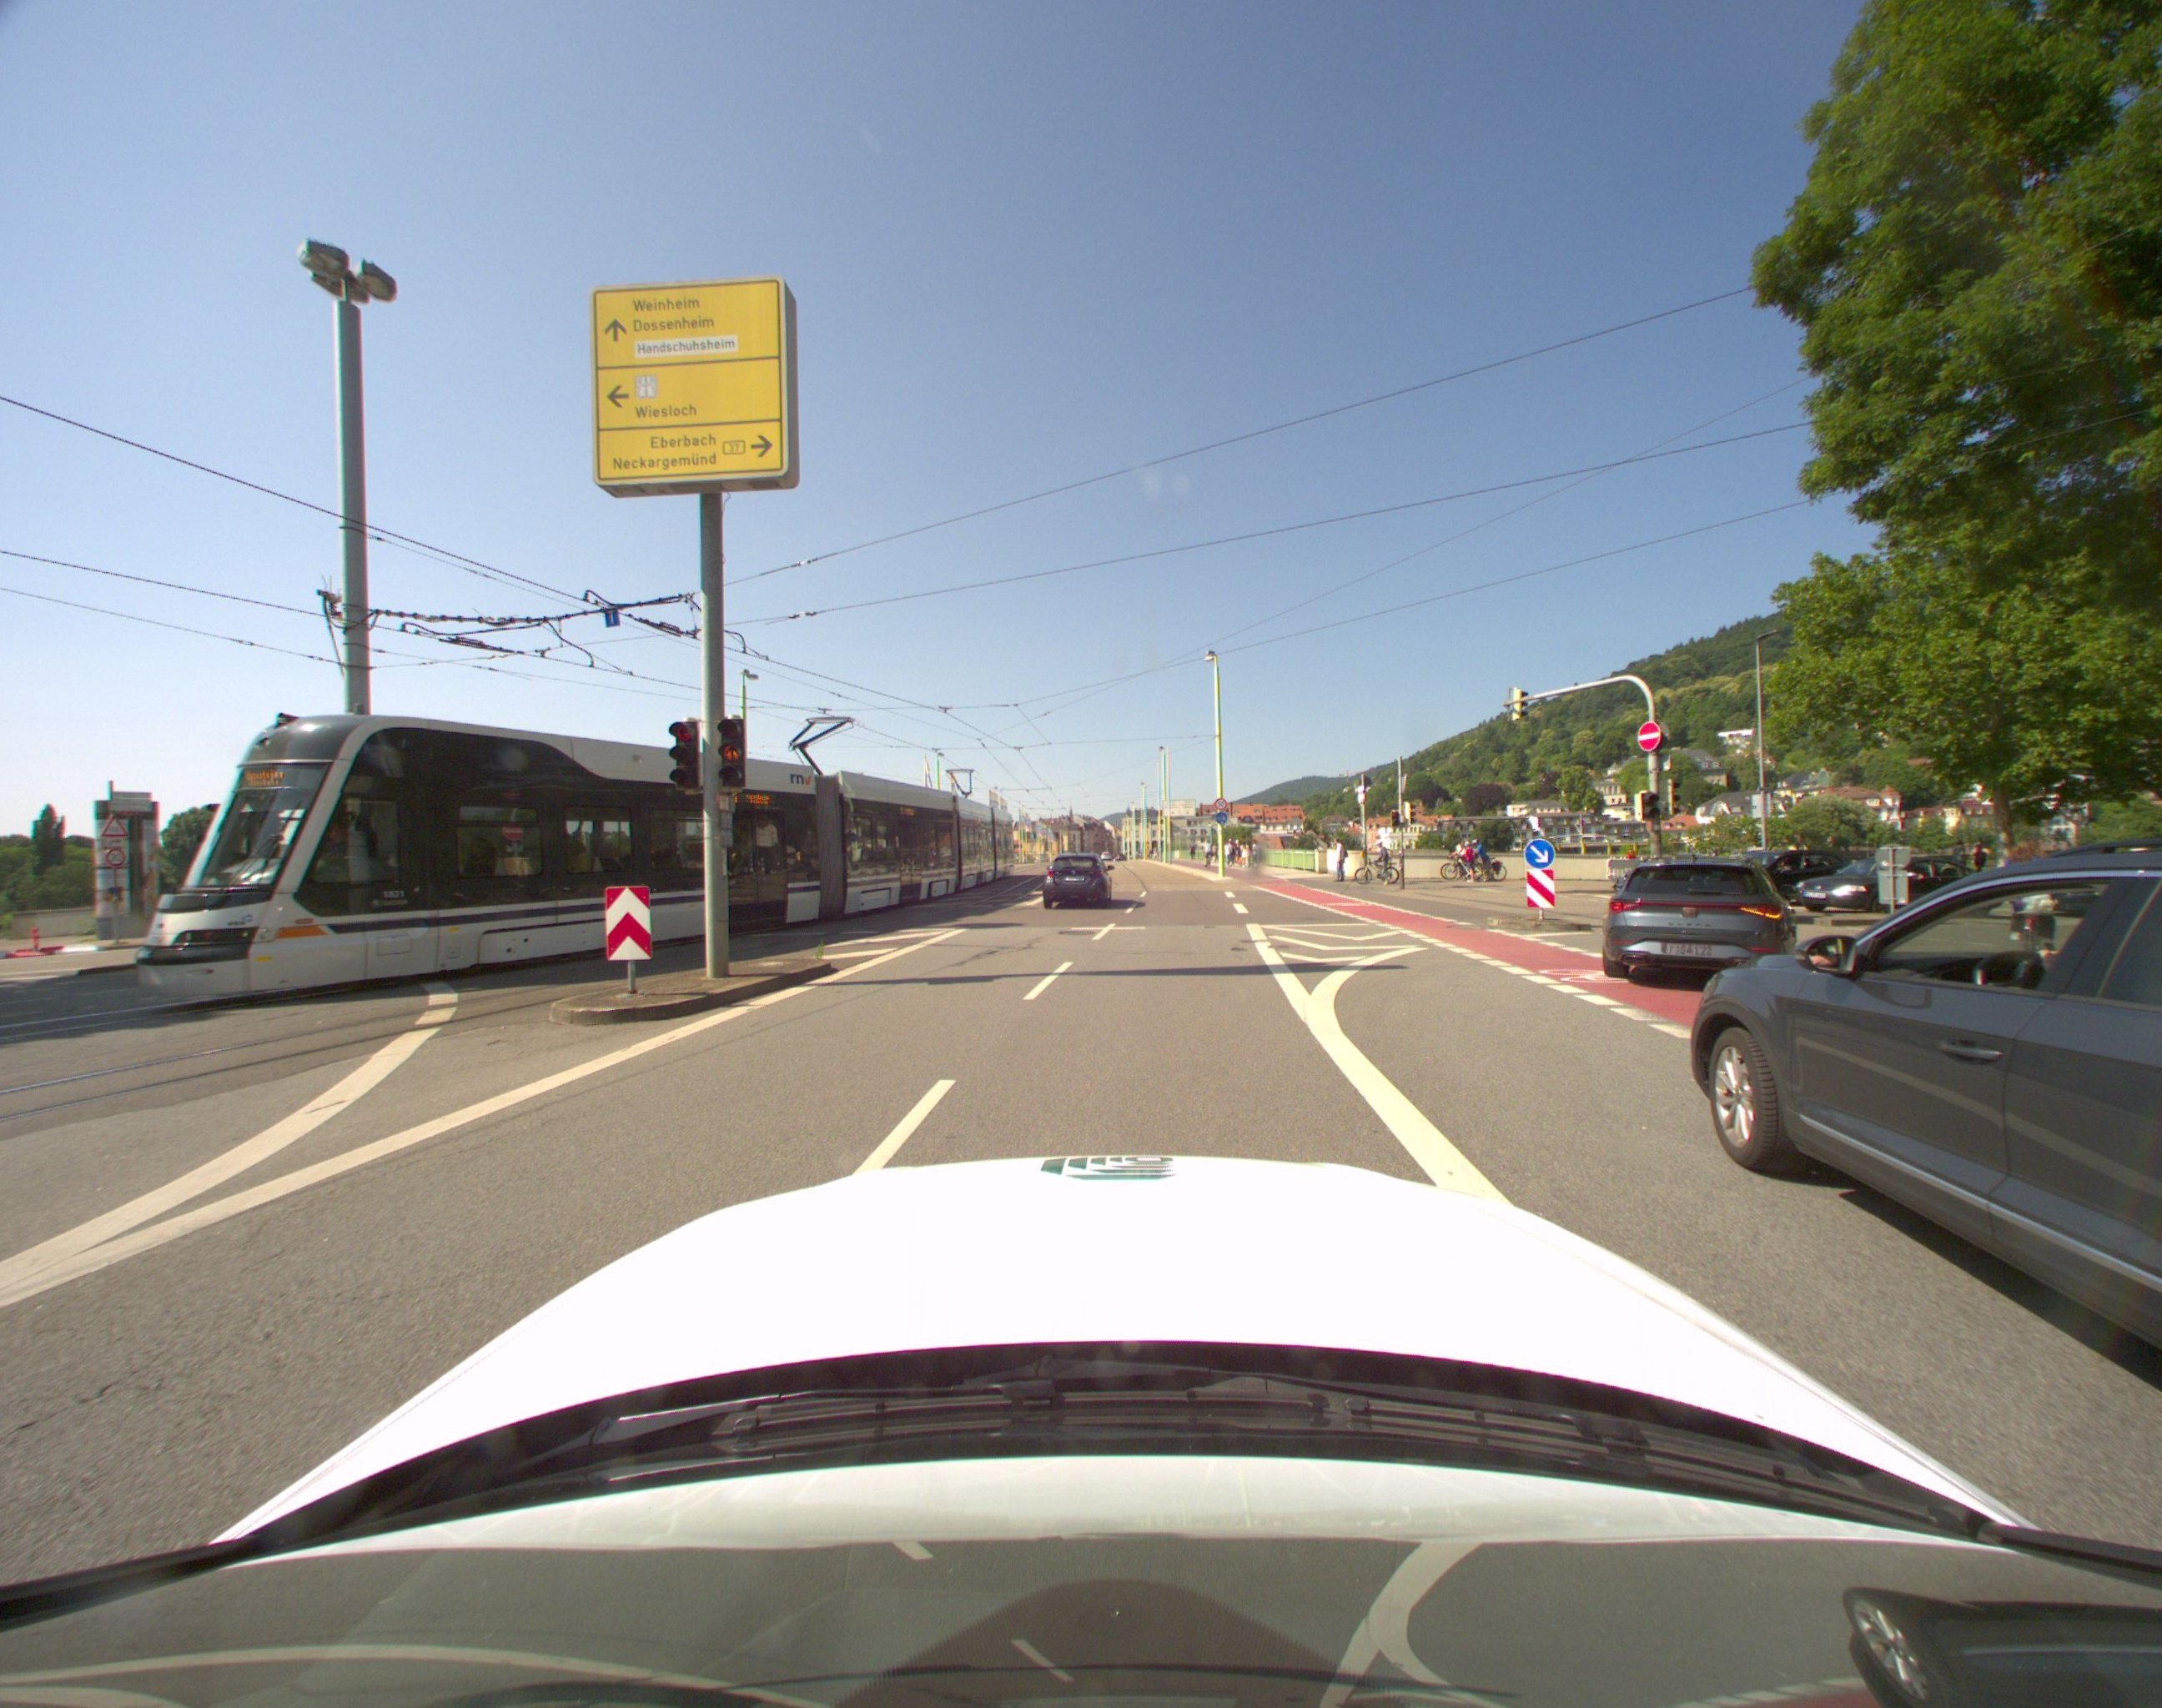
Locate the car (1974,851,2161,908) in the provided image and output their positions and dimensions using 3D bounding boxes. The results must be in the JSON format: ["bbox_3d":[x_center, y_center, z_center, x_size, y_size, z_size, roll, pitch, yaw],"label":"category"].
[{"bbox_3d":[27.021,0.652,21.960,4.471,1.379,1.841,-1,1,-10],"label":"car"}]

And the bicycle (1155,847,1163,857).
[{"bbox_3d":[10.236,-0.255,107.220,0.694,1.193,2.075,-2,-1,-5],"label":"bicycle"}]

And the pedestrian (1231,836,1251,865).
[{"bbox_3d":[9.928,-0.210,50.660,0.983,1.750,0.928,-1,-1,-5],"label":"pedestrian"}]

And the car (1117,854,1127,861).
[{"bbox_3d":[8.281,0.710,165.037,1.796,1.469,4.004,-3,-1,4],"label":"car"}]

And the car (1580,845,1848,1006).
[{"bbox_3d":[7.430,0.659,10.058,1.975,1.490,4.311,0,1,29],"label":"car"}]

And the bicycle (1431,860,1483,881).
[{"bbox_3d":[15.796,0.689,34.218,1.929,0.827,0.566,0,1,5],"label":"bicycle"}]

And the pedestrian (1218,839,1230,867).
[{"bbox_3d":[9.172,-0.079,52.335,0.548,1.799,0.645,-1,-1,-5],"label":"pedestrian"}]

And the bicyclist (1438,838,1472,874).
[{"bbox_3d":[15.702,0.076,34.211,1.074,1.474,0.930,0,1,7],"label":"bicyclist"}]

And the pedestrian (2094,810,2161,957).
[{"bbox_3d":[12.966,0.334,9.681,0.672,1.710,0.892,-2,0,-2],"label":"pedestrian"}]

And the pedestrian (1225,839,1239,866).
[{"bbox_3d":[9.777,-0.094,52.864,0.694,1.716,0.730,-1,-1,-5],"label":"pedestrian"}]

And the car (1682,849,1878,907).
[{"bbox_3d":[19.892,0.628,23.259,4.471,1.506,1.841,-1,1,-10],"label":"car"}]

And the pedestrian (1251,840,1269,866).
[{"bbox_3d":[11.359,-0.056,51.690,0.797,1.635,0.948,-2,0,-5],"label":"pedestrian"}]

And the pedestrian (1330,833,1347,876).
[{"bbox_3d":[10.760,0.015,34.018,0.531,1.760,0.578,-1,0,4],"label":"pedestrian"}]

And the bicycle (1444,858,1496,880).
[{"bbox_3d":[15.786,0.591,33.084,1.921,0.853,0.568,0,1,25],"label":"bicycle"}]

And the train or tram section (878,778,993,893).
[{"bbox_3d":[-5.258,-0.666,31.354,2.395,3.681,9.621,-2,1,1],"label":"train or tram section"}]

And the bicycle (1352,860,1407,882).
[{"bbox_3d":[11.669,0.671,31.884,1.929,0.827,0.566,0,1,5],"label":"bicycle"}]

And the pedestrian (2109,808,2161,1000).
[{"bbox_3d":[11.698,0.508,8.403,0.773,2.013,1.058,-2,0,-4],"label":"pedestrian"}]

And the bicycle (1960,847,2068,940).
[{"bbox_3d":[13.197,0.517,11.496,2.257,1.164,0.611,-2,0,-31],"label":"bicycle"}]

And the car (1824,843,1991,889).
[{"bbox_3d":[28.172,0.371,27.821,4.472,1.448,1.841,-1,1,-10],"label":"car"}]

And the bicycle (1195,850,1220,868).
[{"bbox_3d":[8.095,0.285,52.377,0.790,1.096,3.740,-2,0,-3],"label":"bicycle"}]

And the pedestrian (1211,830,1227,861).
[{"bbox_3d":[9.262,-0.578,54.627,0.801,2.014,0.953,-1,-1,-5],"label":"pedestrian"}]

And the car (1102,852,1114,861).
[{"bbox_3d":[4.683,0.508,141.246,1.799,1.469,3.997,-3,-1,-1],"label":"car"}]

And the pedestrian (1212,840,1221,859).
[{"bbox_3d":[11.698,-0.374,70.246,0.646,1.562,0.693,-2,0,7],"label":"pedestrian"}]

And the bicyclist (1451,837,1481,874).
[{"bbox_3d":[15.677,0.044,33.175,1.070,1.474,0.766,0,1,24],"label":"bicyclist"}]

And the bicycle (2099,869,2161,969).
[{"bbox_3d":[13.413,0.758,9.445,0.794,1.206,2.284,-4,-4,18],"label":"bicycle"}]

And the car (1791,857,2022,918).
[{"bbox_3d":[20.469,0.783,20.284,4.299,1.357,1.877,-1,1,-8],"label":"car"}]

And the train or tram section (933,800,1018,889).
[{"bbox_3d":[-5.064,-0.498,41.626,2.461,3.777,11.853,-2,1,1],"label":"train or tram section"}]

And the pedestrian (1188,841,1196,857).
[{"bbox_3d":[12.094,-0.543,88.767,0.653,1.743,0.976,-1,1,-6],"label":"pedestrian"}]

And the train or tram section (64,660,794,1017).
[{"bbox_3d":[-8.960,-0.219,13.355,2.515,3.777,9.218,-2,1,21],"label":"train or tram section"}]

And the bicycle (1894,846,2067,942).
[{"bbox_3d":[12.594,0.528,11.413,1.998,1.225,0.715,-2,0,-12],"label":"bicycle"}]

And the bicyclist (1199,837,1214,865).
[{"bbox_3d":[8.079,-0.193,52.319,0.671,1.744,1.149,-2,0,-3],"label":"bicyclist"}]

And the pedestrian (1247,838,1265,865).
[{"bbox_3d":[10.868,-0.153,50.592,0.832,1.677,0.884,-1,-1,-5],"label":"pedestrian"}]

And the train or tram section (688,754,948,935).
[{"bbox_3d":[-6.391,-0.264,21.946,2.521,3.777,9.196,-2,1,10],"label":"train or tram section"}]

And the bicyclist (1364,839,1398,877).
[{"bbox_3d":[11.713,0.143,31.845,1.074,1.474,0.801,0,0,5],"label":"bicyclist"}]

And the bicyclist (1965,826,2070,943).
[{"bbox_3d":[13.239,0.405,11.512,1.063,1.553,0.770,-2,0,-30],"label":"bicyclist"}]

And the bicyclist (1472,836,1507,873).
[{"bbox_3d":[16.808,0.017,33.507,1.073,1.474,0.930,0,1,9],"label":"bicyclist"}]

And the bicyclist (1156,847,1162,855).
[{"bbox_3d":[10.260,-0.352,107.106,0.665,1.045,0.978,-3,0,-5],"label":"bicyclist"}]

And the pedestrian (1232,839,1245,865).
[{"bbox_3d":[10.235,-0.148,52.896,0.652,1.650,0.868,-1,-1,-1],"label":"pedestrian"}]

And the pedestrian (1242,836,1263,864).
[{"bbox_3d":[11.074,-0.273,52.693,0.983,1.769,1.252,-3,0,-5],"label":"pedestrian"}]

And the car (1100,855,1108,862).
[{"bbox_3d":[5.962,1.106,210.581,1.987,1.717,3.998,-2,0,-1],"label":"car"}]

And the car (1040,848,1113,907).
[{"bbox_3d":[-0.135,0.597,23.260,1.904,1.540,3.998,0,0,-1],"label":"car"}]

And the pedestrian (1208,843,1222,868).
[{"bbox_3d":[10.968,0.136,66.548,0.872,2.014,1.057,-1,-1,-5],"label":"pedestrian"}]

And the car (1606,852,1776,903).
[{"bbox_3d":[19.772,0.717,26.477,4.471,1.395,1.841,-3,0,-10],"label":"car"}]

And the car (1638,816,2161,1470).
[{"bbox_3d":[3.617,0.652,2.439,1.916,1.516,4.008,-1,1,13],"label":"car"}]

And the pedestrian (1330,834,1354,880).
[{"bbox_3d":[10.796,0.109,33.744,0.770,1.855,0.645,-2,0,4],"label":"pedestrian"}]
